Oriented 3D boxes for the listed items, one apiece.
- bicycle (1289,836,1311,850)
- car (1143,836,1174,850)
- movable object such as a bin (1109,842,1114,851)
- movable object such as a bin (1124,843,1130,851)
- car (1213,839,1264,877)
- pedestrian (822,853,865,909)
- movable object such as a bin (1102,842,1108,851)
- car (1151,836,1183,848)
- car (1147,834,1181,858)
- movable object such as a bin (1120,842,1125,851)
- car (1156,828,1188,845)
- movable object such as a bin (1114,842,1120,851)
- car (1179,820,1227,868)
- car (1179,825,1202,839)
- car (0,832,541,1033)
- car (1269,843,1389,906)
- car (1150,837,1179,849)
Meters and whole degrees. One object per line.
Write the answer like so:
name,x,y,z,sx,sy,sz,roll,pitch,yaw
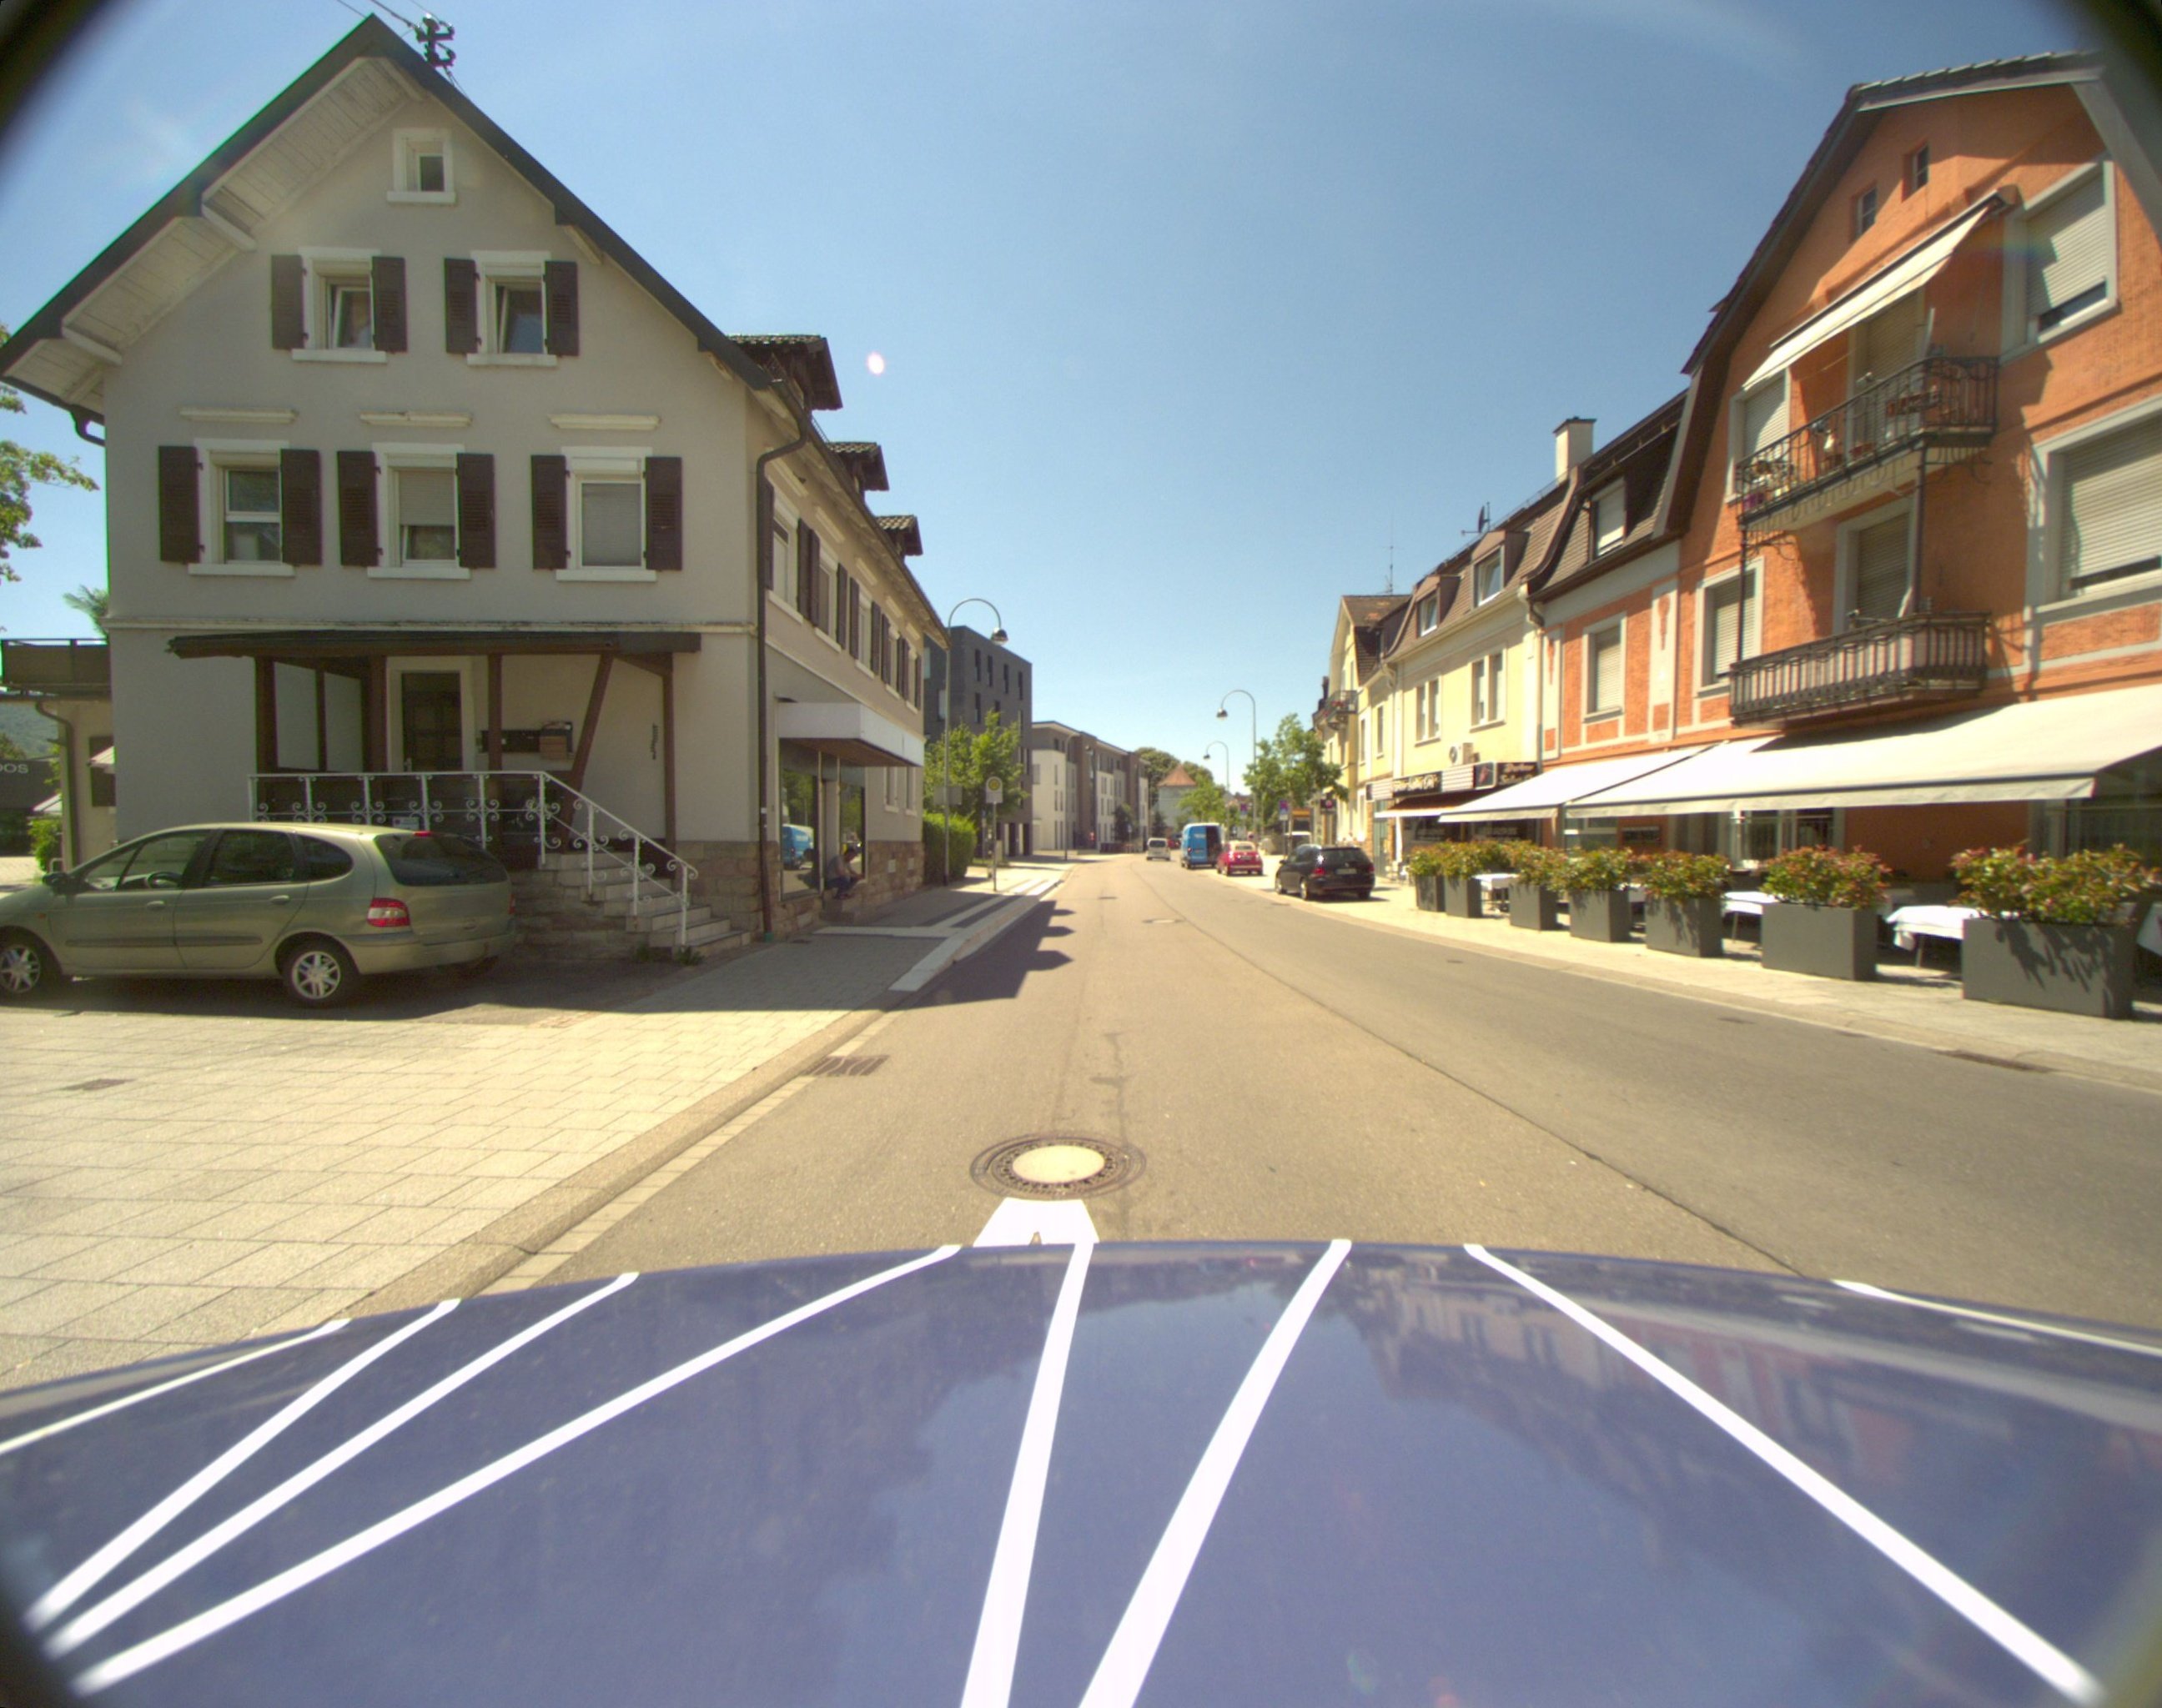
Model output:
bicycle,19.506,-0.990,67.725,1.769,1.227,0.616,-1,2,2
car,10.364,-1.522,101.175,3.812,1.776,1.842,1,2,16
movable object such as a bin,3.420,-0.847,84.765,0.473,0.925,0.529,2,3,18
movable object such as a bin,5.131,-0.793,84.242,0.473,0.925,0.529,2,3,18
car,7.070,0.134,34.359,1.563,1.512,3.514,-1,2,0
pedestrian,-4.419,0.493,14.165,0.591,0.994,0.723,1,2,-4
movable object such as a bin,2.706,-0.857,85.022,0.473,0.925,0.529,2,3,18
car,12.556,-1.745,110.812,4.352,1.543,1.653,1,4,15
car,6.804,-0.653,61.860,1.996,1.812,4.420,1,1,16
movable object such as a bin,4.602,-0.817,84.385,0.473,0.925,0.529,2,3,18
car,14.455,-2.830,120.765,4.860,2.721,1.853,1,2,19
movable object such as a bin,4.037,-0.824,84.534,0.473,0.925,0.529,2,3,18
car,6.810,-0.584,42.986,2.097,2.484,5.503,-2,1,3
car,12.008,-2.412,83.046,1.917,1.418,3.985,0,1,17
car,-7.864,0.638,7.309,4.071,1.586,1.802,2,2,1
car,6.751,0.486,21.212,1.920,1.473,4.336,-3,1,0
car,11.695,-1.555,106.436,3.812,1.454,1.653,2,3,17
